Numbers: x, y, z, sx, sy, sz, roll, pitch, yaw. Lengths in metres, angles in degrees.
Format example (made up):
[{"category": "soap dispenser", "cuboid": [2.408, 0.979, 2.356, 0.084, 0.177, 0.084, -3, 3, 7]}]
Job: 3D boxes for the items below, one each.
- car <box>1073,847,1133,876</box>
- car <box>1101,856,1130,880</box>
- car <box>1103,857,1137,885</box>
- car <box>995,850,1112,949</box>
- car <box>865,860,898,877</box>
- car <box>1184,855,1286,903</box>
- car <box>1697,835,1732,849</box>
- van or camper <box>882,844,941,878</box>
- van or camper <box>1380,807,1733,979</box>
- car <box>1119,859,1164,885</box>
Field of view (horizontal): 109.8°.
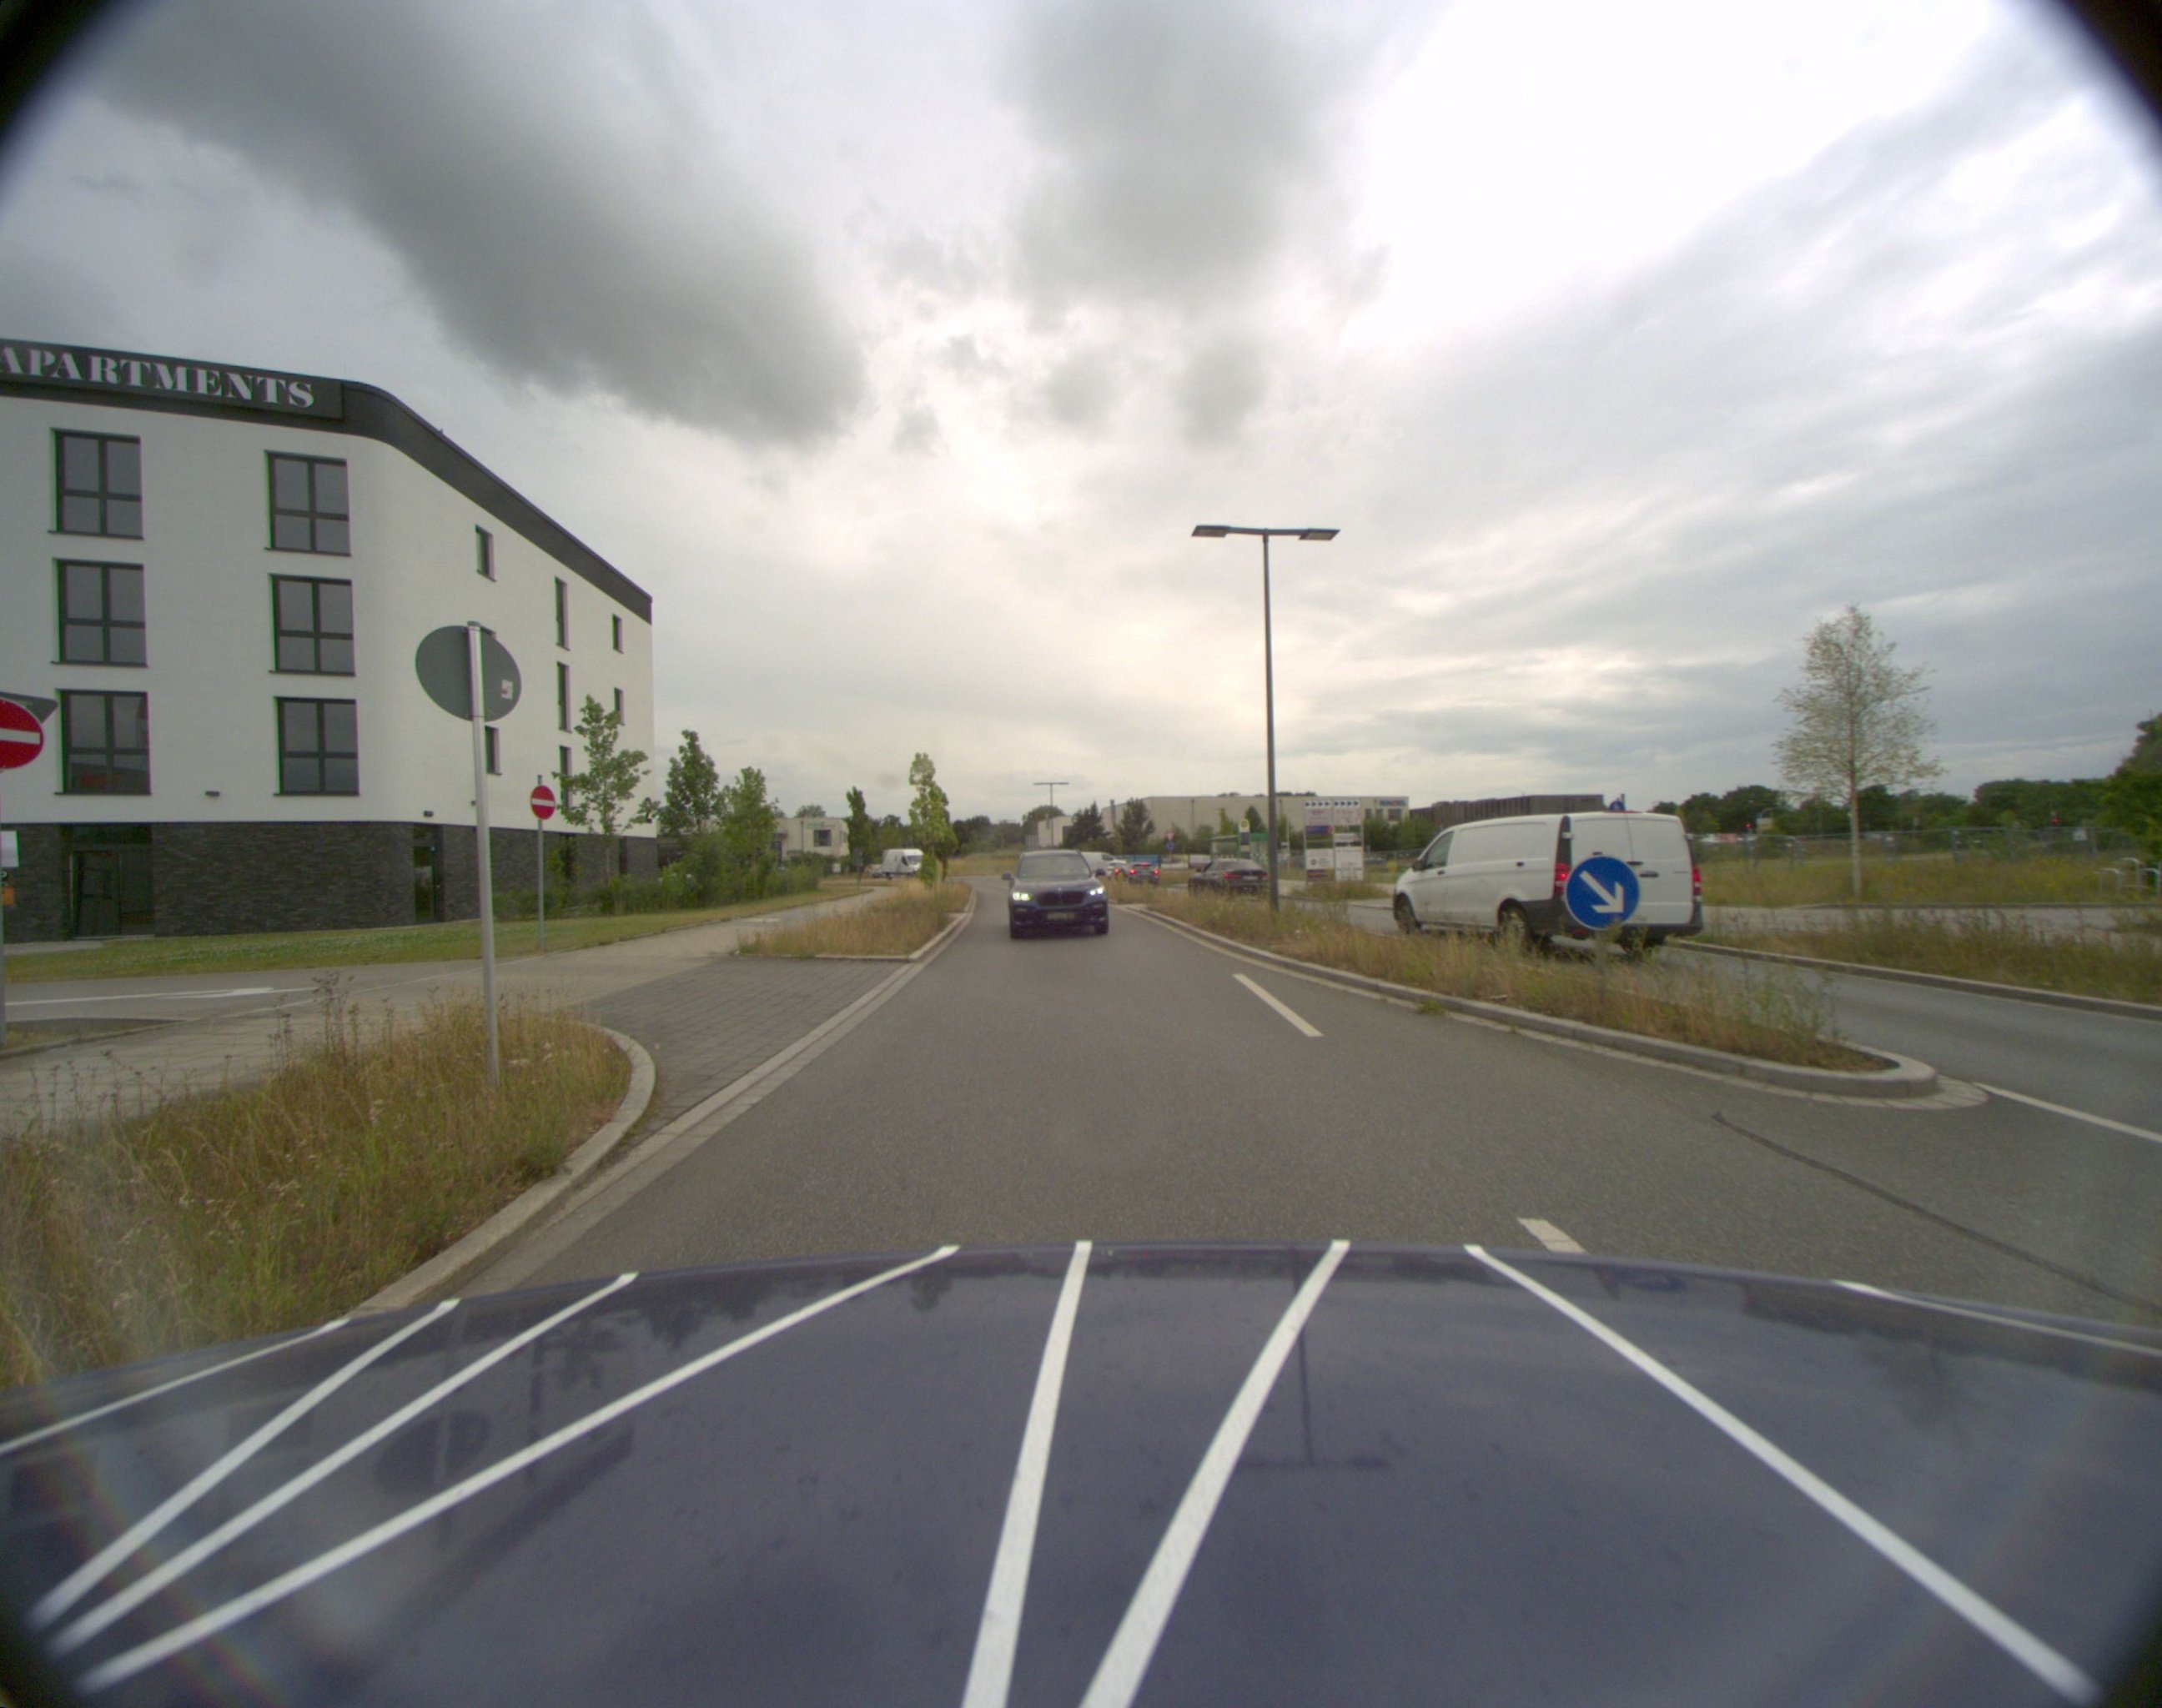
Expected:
[{"category": "car", "cuboid": [1.846, 0.656, 64.512, 4.594, 2.232, 1.996, -3, 1, -23]}, {"category": "car", "cuboid": [2.558, 1.022, 57.238, 1.998, 1.608, 3.999, -2, 1, 0]}, {"category": "car", "cuboid": [2.555, 1.097, 50.463, 1.998, 1.608, 3.999, -2, 1, 0]}, {"category": "car", "cuboid": [-0.458, 0.802, 15.505, 1.998, 1.654, 4.000, -3, 0, 1]}, {"category": "car", "cuboid": [-21.450, 1.530, 81.844, 1.997, 1.576, 4.002, -2, 1, 8]}, {"category": "car", "cuboid": [5.348, 0.830, 27.159, 2.171, 1.474, 4.900, -1, 0, -6]}, {"category": "car", "cuboid": [87.442, -1.684, 104.848, 4.004, 1.707, 1.996, -2, 1, -22]}, {"category": "van or camper", "cuboid": [-14.052, 0.580, 62.805, 2.270, 2.601, 5.681, -2, 1, -41]}, {"category": "van or camper", "cuboid": [6.589, 0.439, 11.457, 1.952, 1.996, 5.126, -1, 0, -3]}, {"category": "car", "cuboid": [3.432, 0.988, 43.622, 1.788, 1.313, 3.997, -2, 1, -7]}]
